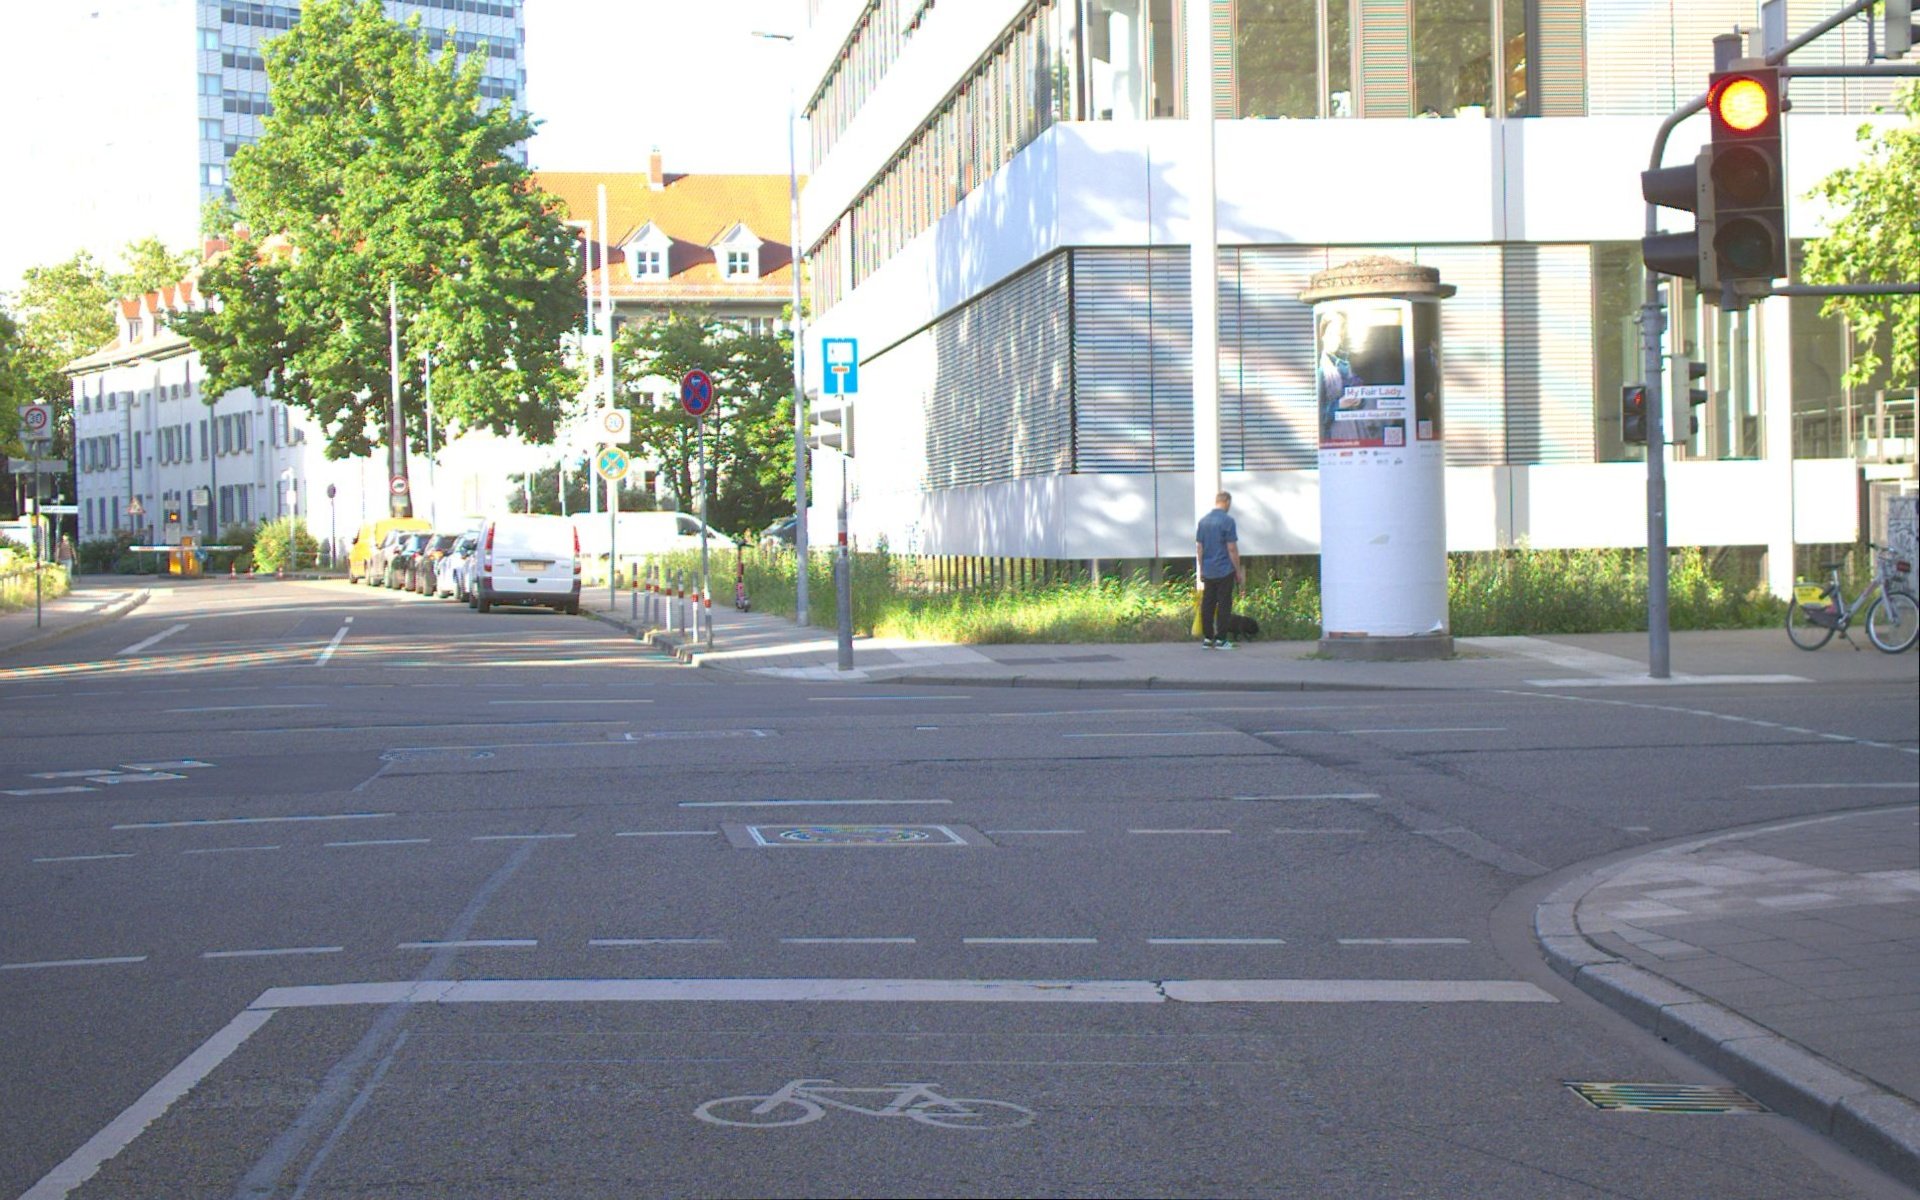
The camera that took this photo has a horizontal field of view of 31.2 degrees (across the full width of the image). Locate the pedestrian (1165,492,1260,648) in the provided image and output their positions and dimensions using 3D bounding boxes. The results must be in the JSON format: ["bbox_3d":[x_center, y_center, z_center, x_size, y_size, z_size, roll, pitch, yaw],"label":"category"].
[{"bbox_3d":[2.857,-0.345,38.912,0.811,1.730,0.653,0,2,45],"label":"pedestrian"}]

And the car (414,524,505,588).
[{"bbox_3d":[-11.837,-1.055,81.152,1.703,1.419,4.239,-1,1,-14],"label":"car"}]

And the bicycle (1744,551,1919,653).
[{"bbox_3d":[9.187,0.014,36.133,0.463,1.045,1.914,-2,2,-42],"label":"bicycle"}]

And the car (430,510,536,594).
[{"bbox_3d":[-10.654,-1.082,76.526,1.946,1.789,4.239,-1,1,-13],"label":"car"}]

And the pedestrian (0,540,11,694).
[{"bbox_3d":[-10.320,0.176,35.898,0.711,1.594,0.617,-1,1,-10],"label":"pedestrian"}]

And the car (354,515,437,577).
[{"bbox_3d":[-15.732,-1.518,95.672,2.100,1.652,4.477,-1,1,-11],"label":"car"}]

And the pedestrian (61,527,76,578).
[{"bbox_3d":[-26.982,-1.443,104.062,0.380,1.529,0.446,-1,1,-12],"label":"pedestrian"}]

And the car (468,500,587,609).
[{"bbox_3d":[-8.162,-0.873,64.657,2.066,1.956,4.239,-1,1,-9],"label":"car"}]

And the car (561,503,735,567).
[{"bbox_3d":[-9.353,-1.921,102.829,4.880,1.865,2.001,0,0,-17],"label":"car"}]

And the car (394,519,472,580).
[{"bbox_3d":[-13.141,-1.265,85.633,1.703,1.459,4.239,-1,1,-11],"label":"car"}]
